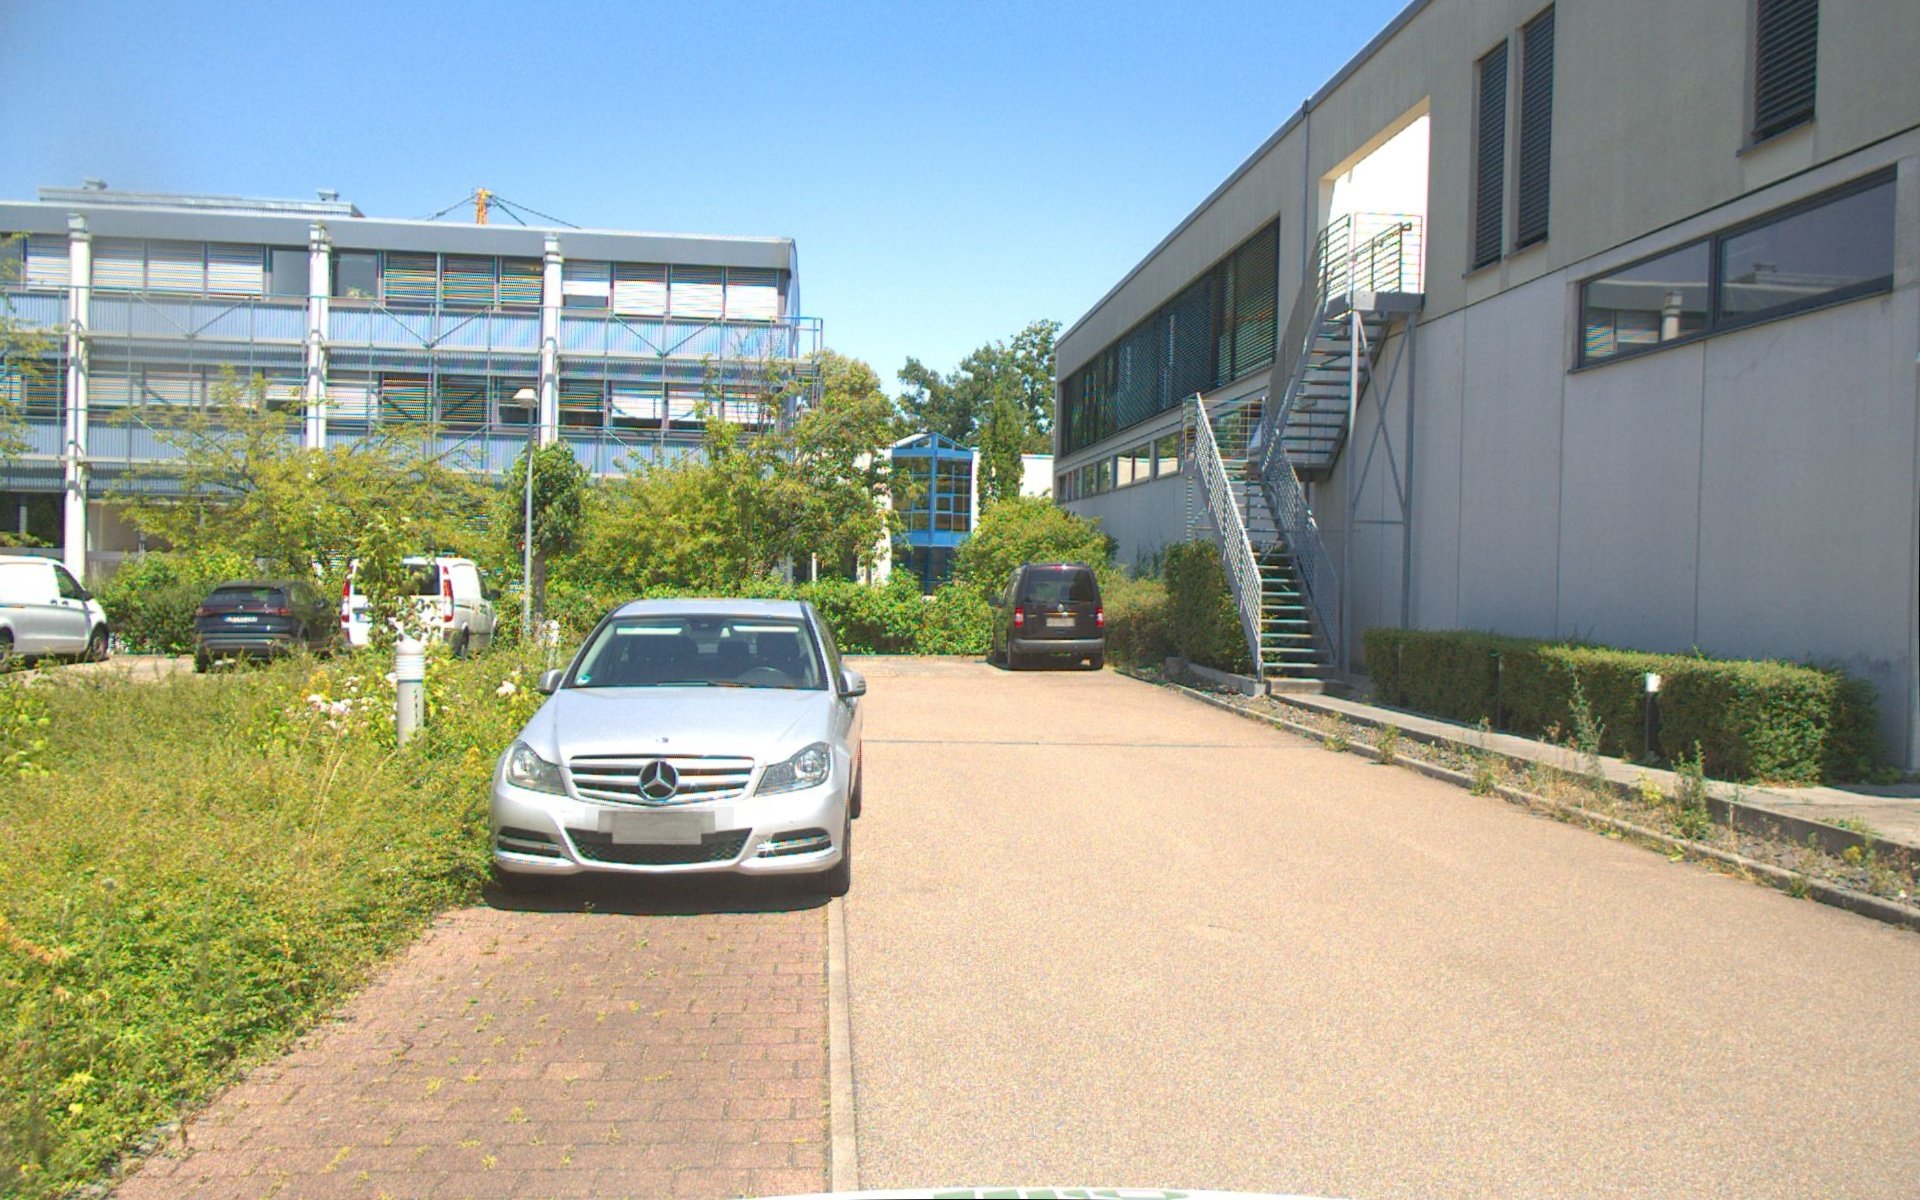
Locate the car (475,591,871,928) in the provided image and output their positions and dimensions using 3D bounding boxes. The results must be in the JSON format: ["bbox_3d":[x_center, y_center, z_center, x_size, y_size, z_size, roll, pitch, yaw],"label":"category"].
[{"bbox_3d":[-1.383,0.695,9.438,1.694,1.482,4.146,0,0,-2],"label":"car"}]

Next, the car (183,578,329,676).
[{"bbox_3d":[-12.103,0.409,28.667,1.725,1.502,3.985,0,2,-14],"label":"car"}]

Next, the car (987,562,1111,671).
[{"bbox_3d":[1.568,0.247,30.559,1.709,1.869,3.996,0,1,-6],"label":"car"}]

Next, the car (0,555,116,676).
[{"bbox_3d":[-16.297,0.201,27.966,1.844,1.924,4.800,0,1,-4],"label":"car"}]

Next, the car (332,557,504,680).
[{"bbox_3d":[-9.253,0.223,28.620,1.876,1.938,4.802,0,1,-7],"label":"car"}]
